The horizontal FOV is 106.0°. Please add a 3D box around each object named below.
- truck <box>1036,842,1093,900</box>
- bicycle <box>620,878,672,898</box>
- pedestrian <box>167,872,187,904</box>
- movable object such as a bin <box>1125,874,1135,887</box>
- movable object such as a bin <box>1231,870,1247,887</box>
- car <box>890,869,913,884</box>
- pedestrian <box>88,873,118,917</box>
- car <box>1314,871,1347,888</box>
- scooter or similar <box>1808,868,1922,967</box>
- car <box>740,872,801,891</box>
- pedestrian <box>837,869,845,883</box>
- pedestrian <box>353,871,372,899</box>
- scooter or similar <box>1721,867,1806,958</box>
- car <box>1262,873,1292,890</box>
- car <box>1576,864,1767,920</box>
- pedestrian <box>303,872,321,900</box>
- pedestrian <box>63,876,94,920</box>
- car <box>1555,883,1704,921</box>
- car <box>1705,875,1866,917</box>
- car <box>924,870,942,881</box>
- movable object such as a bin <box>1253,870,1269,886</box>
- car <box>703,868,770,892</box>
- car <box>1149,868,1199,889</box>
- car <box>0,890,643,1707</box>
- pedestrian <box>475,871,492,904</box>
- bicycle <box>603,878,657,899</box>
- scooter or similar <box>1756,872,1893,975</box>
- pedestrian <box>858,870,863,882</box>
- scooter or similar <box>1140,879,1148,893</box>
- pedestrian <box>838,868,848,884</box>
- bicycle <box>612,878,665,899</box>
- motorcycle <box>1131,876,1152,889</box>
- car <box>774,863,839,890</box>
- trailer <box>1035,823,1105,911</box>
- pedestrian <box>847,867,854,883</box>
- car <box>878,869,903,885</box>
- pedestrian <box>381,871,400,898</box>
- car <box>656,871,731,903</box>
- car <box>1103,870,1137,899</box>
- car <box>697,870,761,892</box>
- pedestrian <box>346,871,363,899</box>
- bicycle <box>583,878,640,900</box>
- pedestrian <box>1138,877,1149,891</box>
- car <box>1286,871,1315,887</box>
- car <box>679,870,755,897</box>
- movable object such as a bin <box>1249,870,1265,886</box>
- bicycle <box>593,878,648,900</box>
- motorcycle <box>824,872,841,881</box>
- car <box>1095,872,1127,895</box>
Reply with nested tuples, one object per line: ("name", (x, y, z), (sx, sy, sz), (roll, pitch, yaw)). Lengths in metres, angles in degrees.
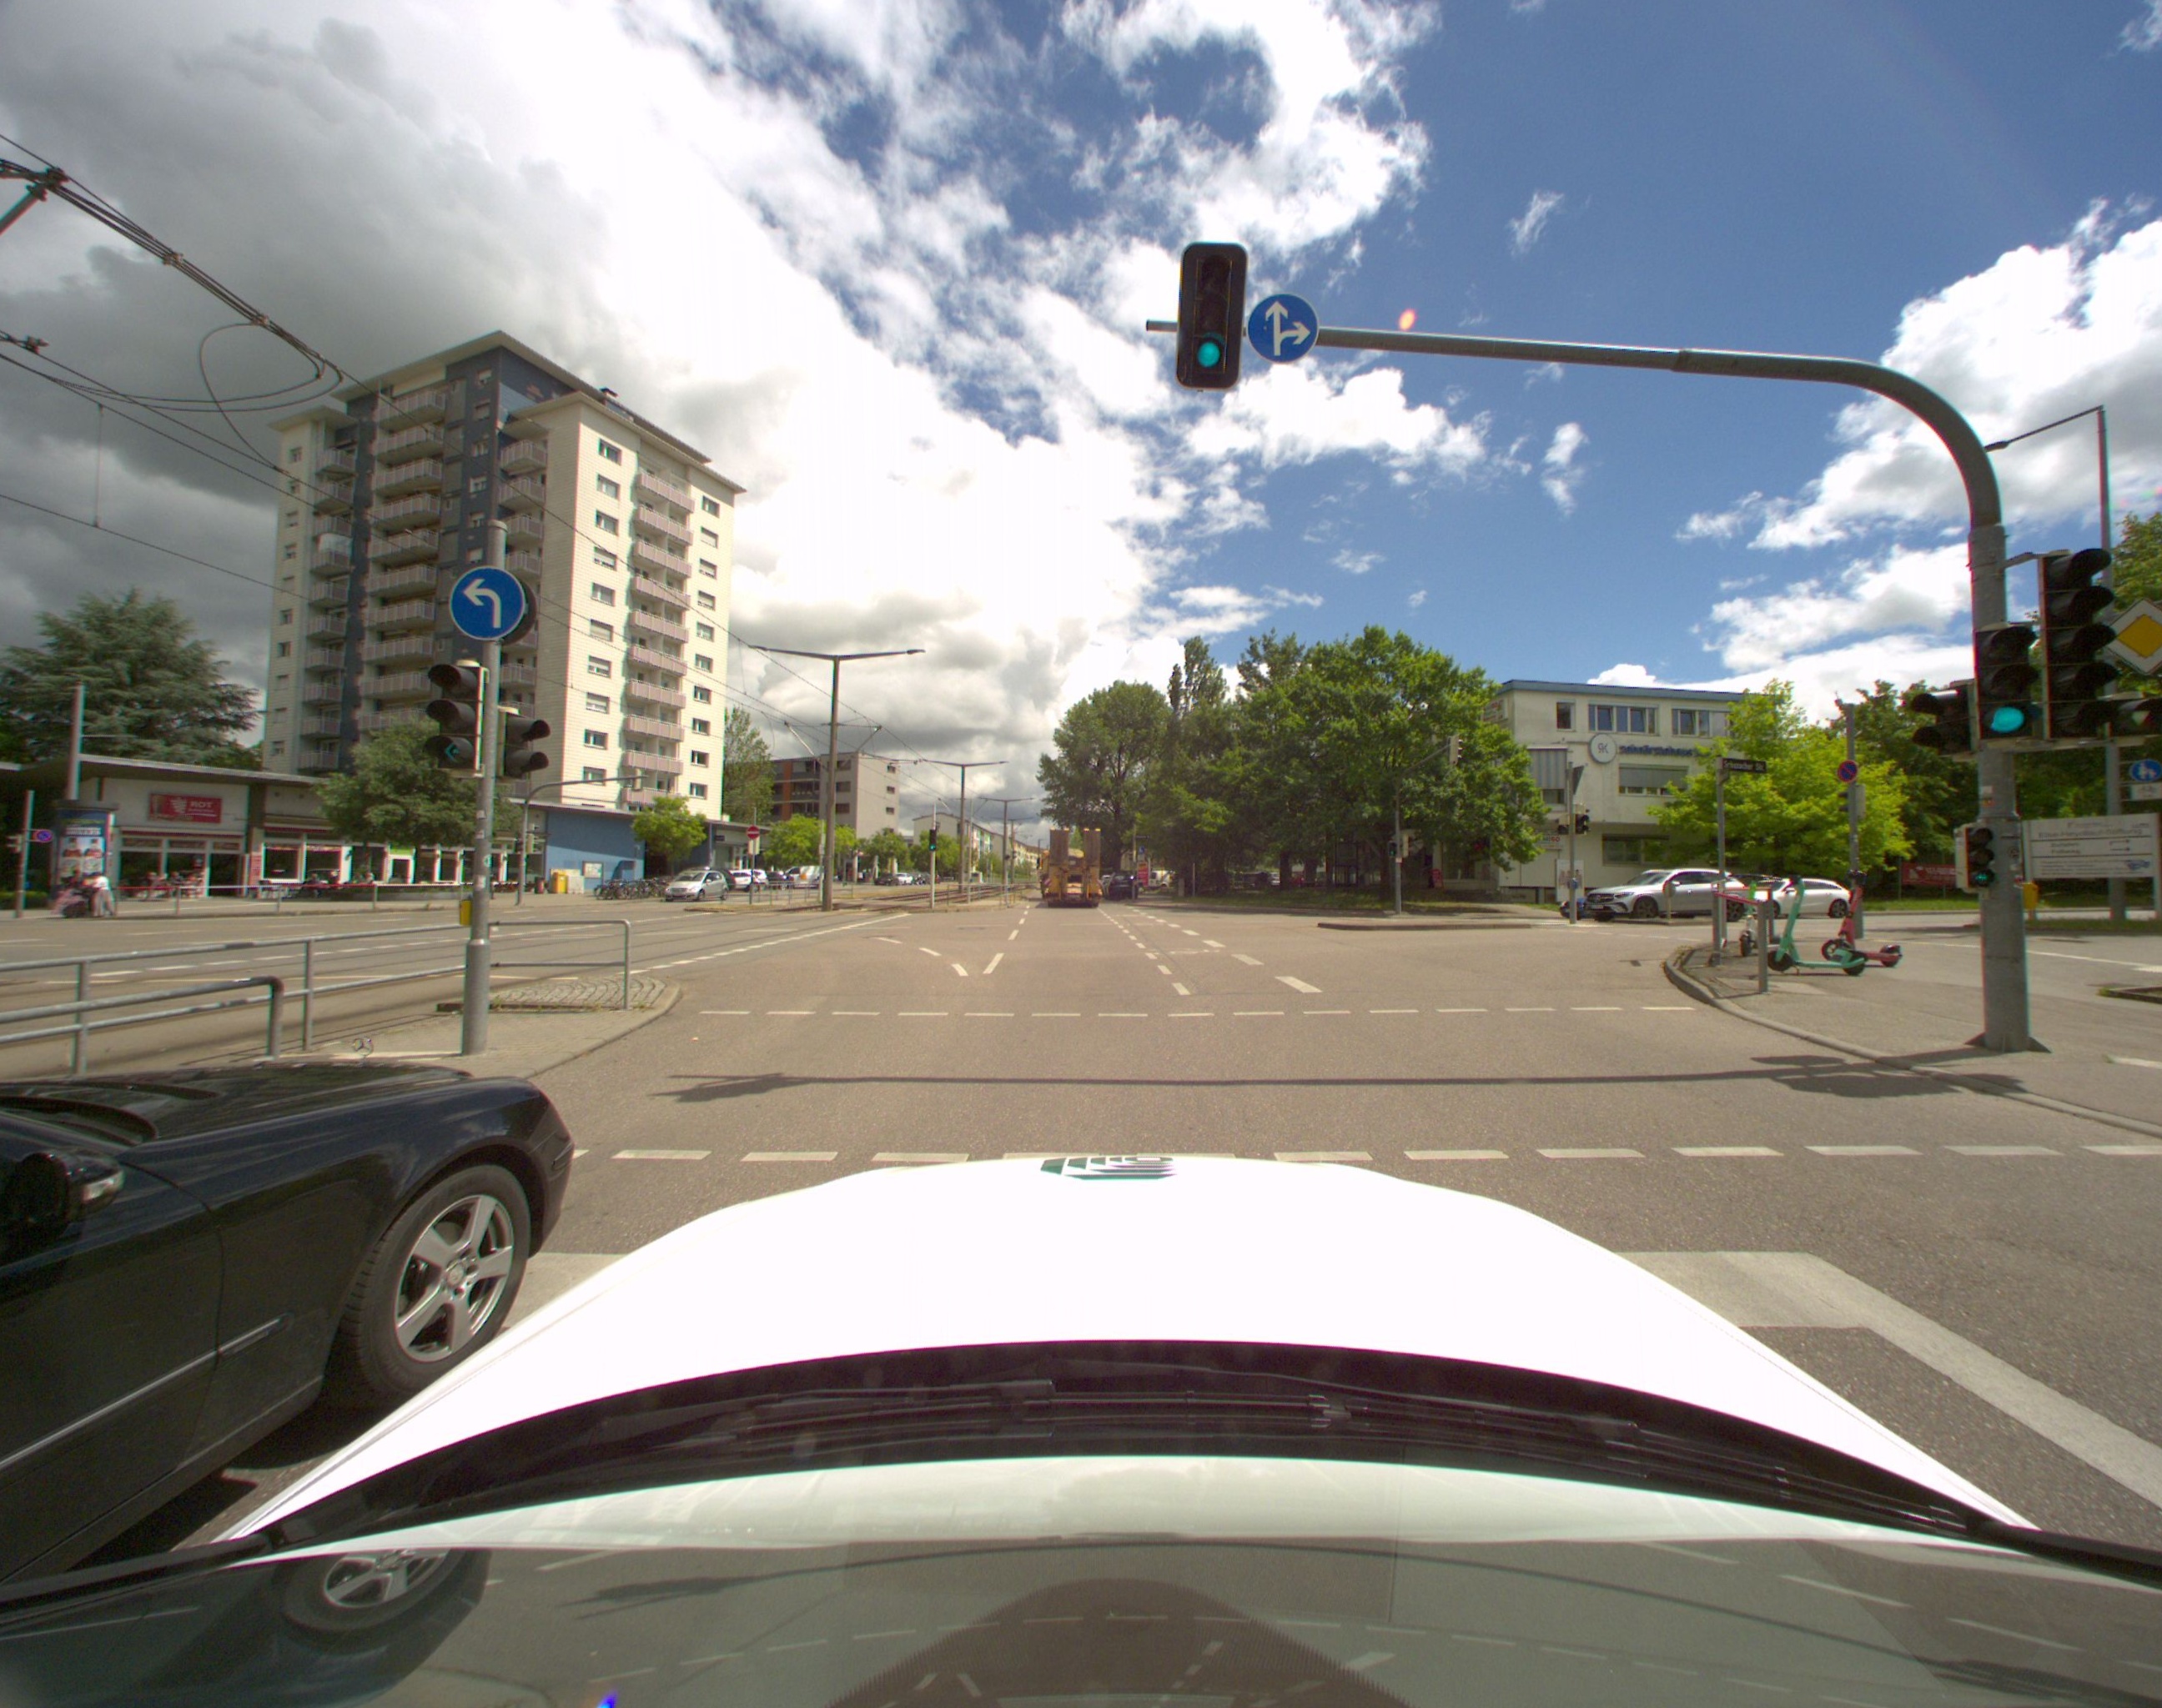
("truck", (-1.180, 1.028, 50.616), (2.830, 3.330, 7.965), (0, -1, -6))
("bicycle", (-23.479, 1.821, 43.944), (2.419, 1.066, 0.705), (0, -1, 0))
("pedestrian", (-42.980, 1.610, 38.704), (0.565, 1.472, 0.529), (-1, -1, 32))
("movable object such as a bin", (5.410, 2.904, 90.035), (1.095, 1.439, 0.760), (0, -1, -3))
("movable object such as a bin", (13.979, 2.165, 72.105), (1.113, 1.430, 1.284), (0, -1, -4))
("car", (-21.460, 2.677, 97.508), (1.989, 1.663, 4.095), (1, -1, -3))
("pedestrian", (-33.267, 1.383, 27.714), (0.512, 1.472, 0.529), (-1, -1, 26))
("car", (23.001, 2.348, 75.198), (1.738, 1.470, 3.997), (0, -1, -1))
("scooter or similar", (10.195, 0.806, 10.599), (1.182, 1.235, 0.478), (0, -1, -12))
("car", (-24.129, 2.121, 63.356), (4.022, 1.383, 1.883), (1, -1, -42))
("pedestrian", (-26.125, 2.390, 88.588), (0.667, 1.574, 0.682), (0, -1, -28))
("pedestrian", (-38.450, 1.670, 43.586), (0.522, 1.472, 0.573), (0, -1, 3))
("scooter or similar", (9.735, 0.804, 11.607), (1.213, 1.235, 0.475), (0, -1, -27))
("car", (18.129, 2.489, 75.531), (1.933, 1.491, 4.001), (0, -1, 1))
("car", (17.990, 1.173, 24.930), (4.636, 1.592, 1.918), (0, -4, -7))
("pedestrian", (-40.389, 1.669, 42.774), (0.565, 1.472, 0.529), (-1, -1, 32))
("pedestrian", (-33.968, 1.477, 27.607), (0.565, 1.472, 0.529), (-1, -1, 26))
("car", (18.805, 1.654, 28.022), (3.954, 1.225, 1.908), (0, -4, -7))
("car", (25.227, 1.523, 29.244), (4.387, 1.415, 1.945), (0, -4, -9))
("car", (-21.255, 3.088, 116.862), (1.605, 1.426, 3.428), (0, -1, 6))
("movable object such as a bin", (16.106, 2.176, 72.985), (1.113, 1.430, 1.284), (0, -1, -4))
("car", (-24.994, 1.853, 59.175), (1.882, 1.632, 4.024), (-1, -1, 44))
("car", (8.219, 2.133, 72.002), (4.005, 1.823, 1.796), (0, -1, -24))
("car", (-2.795, 0.809, 0.842), (1.963, 1.398, 4.677), (0, -1, 3))
("pedestrian", (-30.033, 1.660, 40.915), (0.415, 1.643, 0.600), (0, -1, -2))
("bicycle", (-23.471, 1.797, 42.431), (2.419, 1.066, 0.705), (0, -1, 0))
("scooter or similar", (8.896, 0.820, 9.771), (1.162, 1.195, 0.449), (0, -1, 5))
("pedestrian", (-26.688, 2.674, 98.490), (0.500, 1.460, 0.555), (0, -1, -28))
("scooter or similar", (4.916, 2.473, 63.806), (0.476, 1.055, 0.895), (0, -1, -7))
("pedestrian", (-24.791, 2.241, 84.702), (0.839, 1.650, 0.612), (1, -1, -4))
("bicycle", (-23.459, 1.809, 43.179), (2.419, 1.066, 0.705), (0, -1, 0))
("motorcycle", (5.660, 2.659, 75.893), (1.803, 1.210, 0.706), (0, -1, -24))
("car", (-22.816, 1.866, 67.897), (4.788, 2.157, 1.883), (1, -1, -42))
("trailer", (-0.577, 0.655, 41.135), (3.042, 3.773, 11.605), (0, -1, -1))
("pedestrian", (-26.098, 2.367, 92.140), (0.609, 1.793, 0.843), (0, -1, -1))
("car", (-21.261, 2.581, 91.084), (1.989, 1.663, 4.095), (1, -1, -3))
("pedestrian", (-37.851, 1.685, 44.674), (0.522, 1.472, 0.573), (0, -1, 3))
("car", (-19.762, 1.646, 41.712), (1.810, 1.533, 3.758), (0, -1, 4))
("car", (2.418, 1.880, 51.411), (1.640, 1.762, 4.564), (0, -1, -3))
("car", (-24.429, 1.849, 56.589), (3.786, 1.496, 1.727), (0, -1, -40))
("pedestrian", (-39.594, 1.690, 44.397), (0.565, 1.472, 0.529), (-1, -1, 29))
("bicycle", (-23.492, 1.770, 40.742), (2.419, 1.066, 0.705), (0, -1, 0))
("pedestrian", (4.906, 2.344, 63.798), (0.775, 1.055, 0.546), (0, -1, -7))
("car", (20.405, 2.344, 75.870), (1.737, 1.443, 4.001), (0, -1, 1))
("car", (-23.401, 1.861, 52.393), (1.908, 1.591, 4.024), (-1, -1, 43))
("movable object such as a bin", (16.041, 2.189, 74.315), (1.113, 1.430, 1.284), (0, -1, -4))
("bicycle", (-23.476, 1.782, 41.541), (2.419, 1.066, 0.705), (0, -1, 0))
("motorcycle", (-30.945, 2.791, 101.559), (1.888, 1.178, 0.740), (0, -1, -3))
("car", (2.196, 2.170, 60.646), (1.781, 1.565, 4.560), (0, -1, -6))
